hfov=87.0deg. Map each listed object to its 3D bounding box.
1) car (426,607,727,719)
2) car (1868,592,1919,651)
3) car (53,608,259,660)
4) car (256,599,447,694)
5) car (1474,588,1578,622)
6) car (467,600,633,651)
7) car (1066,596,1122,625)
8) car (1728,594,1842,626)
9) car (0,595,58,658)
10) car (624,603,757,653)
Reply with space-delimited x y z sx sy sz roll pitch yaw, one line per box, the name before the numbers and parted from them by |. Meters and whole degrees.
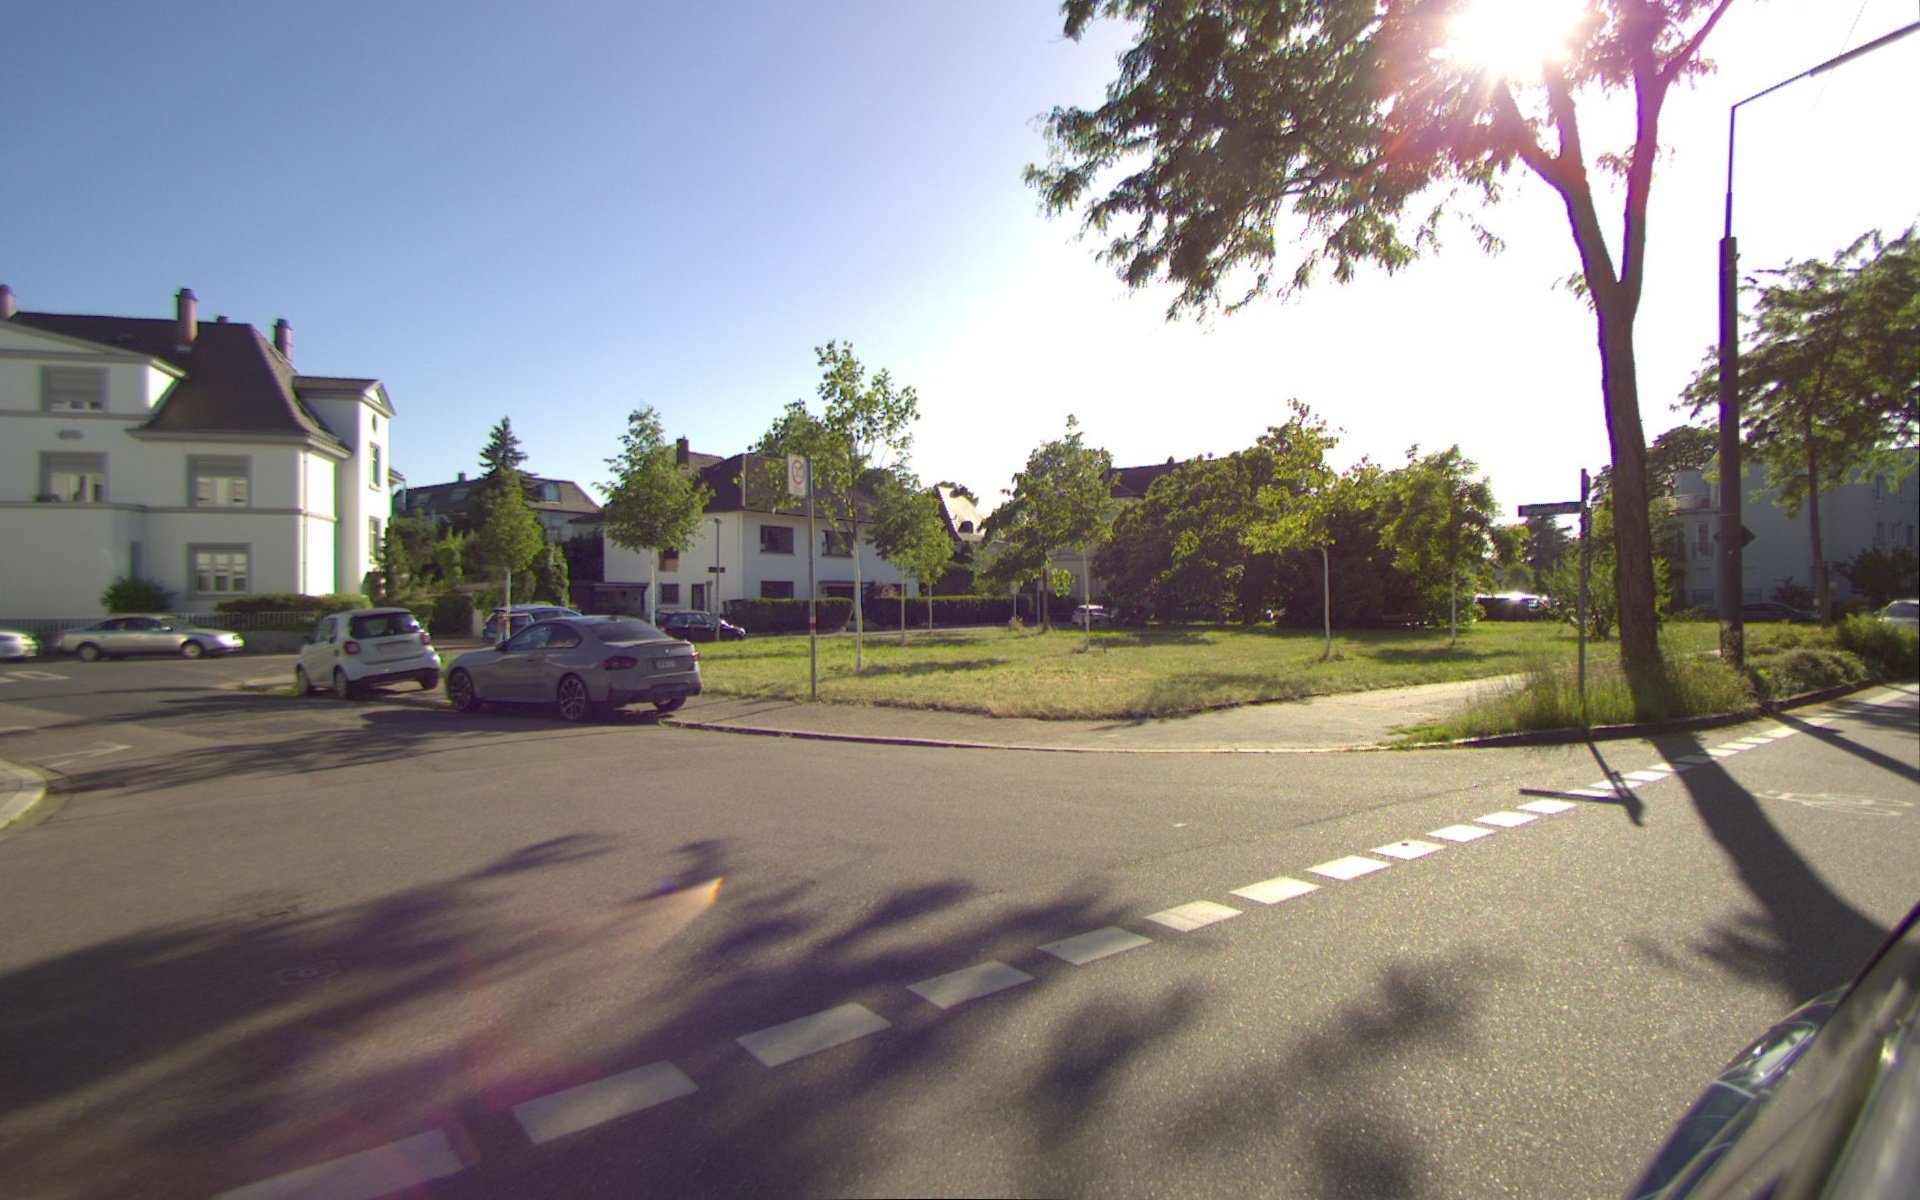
car | -5.743 0.822 14.970 4.493 1.386 1.945 0 0 34
car | 27.315 0.574 28.385 5.338 1.483 2.005 -1 4 -41
car | -25.336 1.036 32.087 4.663 1.447 2.004 -2 0 -14
car | -11.708 0.801 19.365 4.274 1.529 1.814 0 2 40
car | 33.254 0.309 59.494 5.175 1.909 2.075 -1 -1 34
car | -13.113 0.765 32.641 2.049 1.489 4.702 -1 0 32
car | 8.905 0.671 67.079 1.989 1.819 3.946 0 0 38
car | 43.171 0.502 53.077 4.431 1.508 1.987 0 4 34
car | -30.579 0.832 30.605 4.461 1.865 2.004 -2 0 -14
car | -9.902 0.989 37.519 1.983 1.671 4.716 -2 -1 31
